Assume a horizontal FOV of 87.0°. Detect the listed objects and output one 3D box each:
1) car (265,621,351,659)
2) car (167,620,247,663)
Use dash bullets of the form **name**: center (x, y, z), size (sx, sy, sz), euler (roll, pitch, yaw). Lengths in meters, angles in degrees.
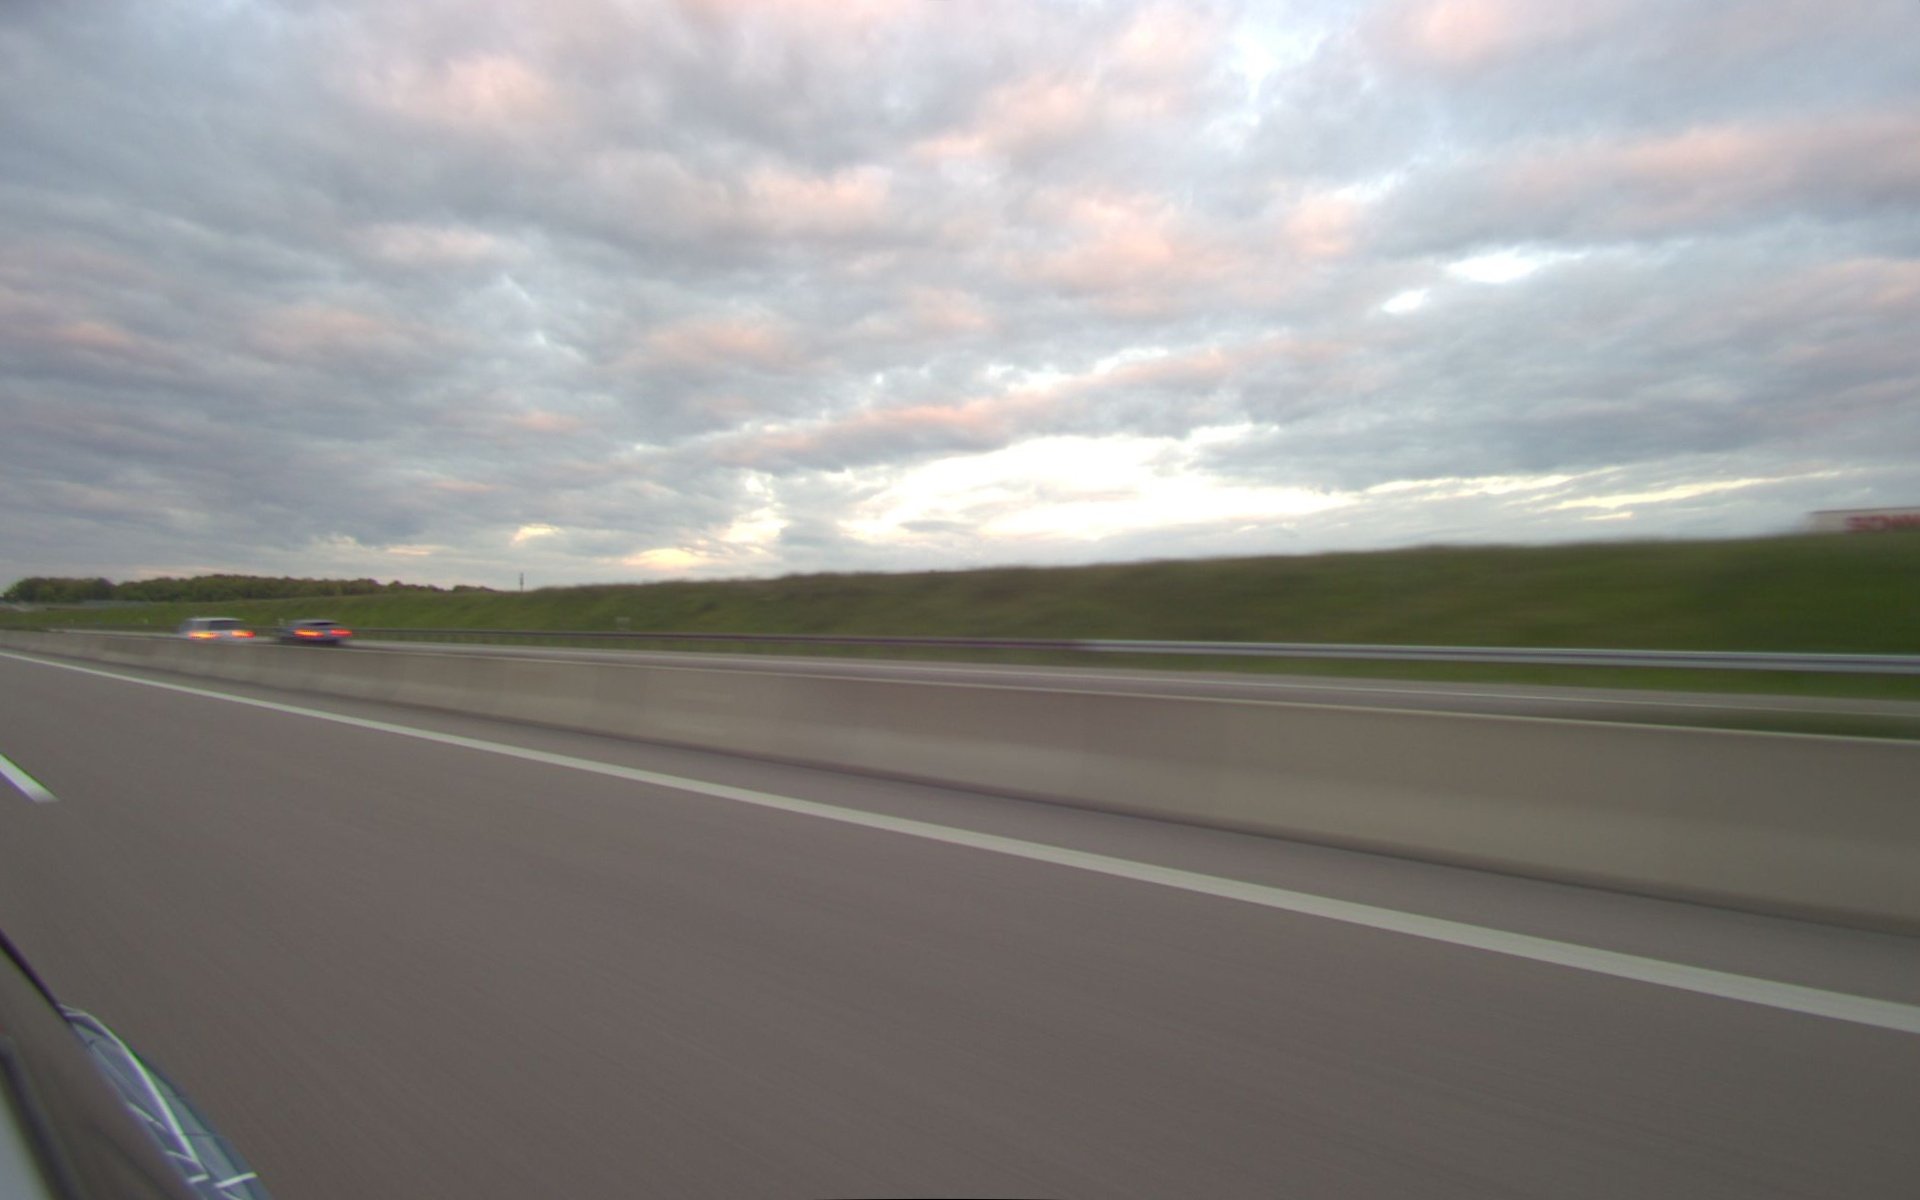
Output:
- **car**: center (-29.302, 1.775, 45.464), size (4.569, 1.599, 1.983), euler (-1, -2, 40)
- **car**: center (-30.918, 1.675, 41.488), size (4.641, 1.610, 1.731), euler (-1, 0, 42)
